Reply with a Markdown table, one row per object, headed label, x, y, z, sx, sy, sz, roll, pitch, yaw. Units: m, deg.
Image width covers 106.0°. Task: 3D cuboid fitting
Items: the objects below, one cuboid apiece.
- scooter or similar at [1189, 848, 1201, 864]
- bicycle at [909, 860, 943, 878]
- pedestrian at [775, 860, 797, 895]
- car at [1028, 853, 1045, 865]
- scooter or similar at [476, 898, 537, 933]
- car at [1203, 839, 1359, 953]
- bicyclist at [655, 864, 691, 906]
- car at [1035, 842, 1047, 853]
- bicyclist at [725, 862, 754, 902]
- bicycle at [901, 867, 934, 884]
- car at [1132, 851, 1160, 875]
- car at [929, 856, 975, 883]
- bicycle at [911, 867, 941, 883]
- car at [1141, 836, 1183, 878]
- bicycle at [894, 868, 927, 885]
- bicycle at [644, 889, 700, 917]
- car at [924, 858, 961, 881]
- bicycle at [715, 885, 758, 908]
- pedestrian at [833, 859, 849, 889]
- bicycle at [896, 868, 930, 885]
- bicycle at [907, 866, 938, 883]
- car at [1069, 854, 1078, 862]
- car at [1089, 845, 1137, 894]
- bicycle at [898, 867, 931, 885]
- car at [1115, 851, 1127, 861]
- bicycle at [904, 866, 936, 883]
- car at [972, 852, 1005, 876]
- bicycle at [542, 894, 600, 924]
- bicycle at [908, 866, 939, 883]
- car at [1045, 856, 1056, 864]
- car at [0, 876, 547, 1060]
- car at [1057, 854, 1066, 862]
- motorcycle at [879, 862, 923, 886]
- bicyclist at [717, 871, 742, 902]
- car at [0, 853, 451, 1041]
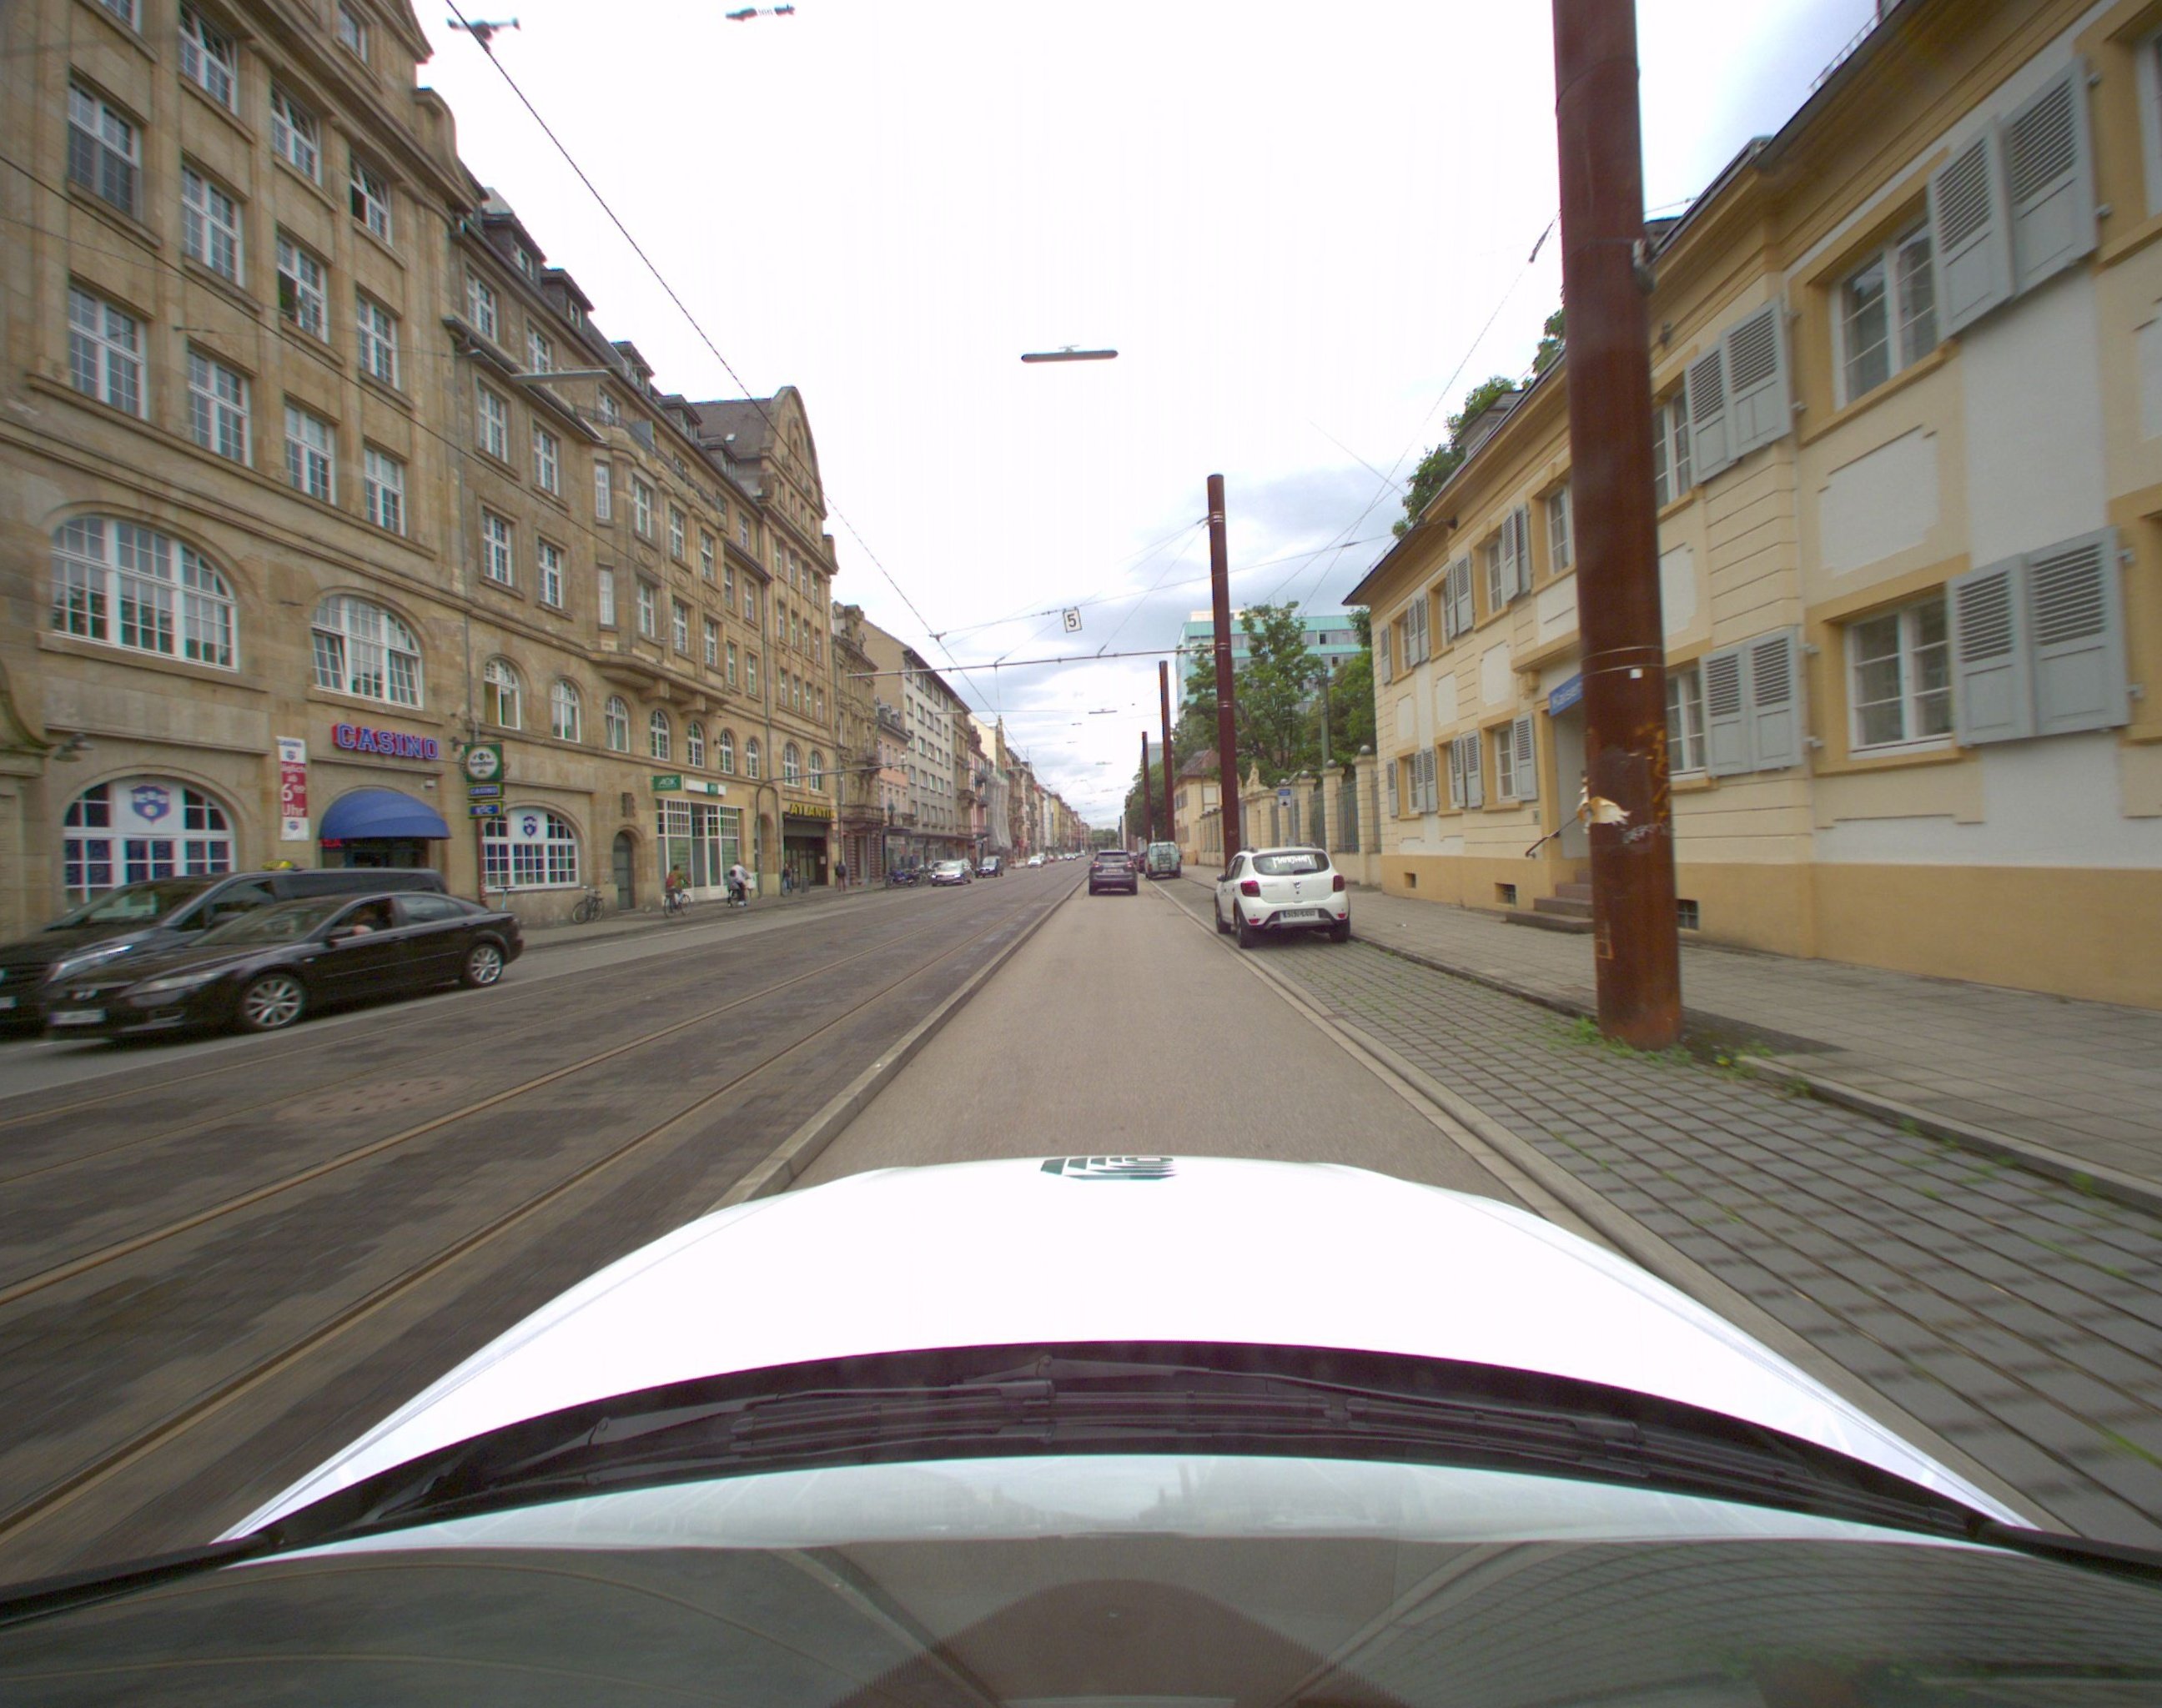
| label | x | y | z | sx | sy | sz | roll | pitch | yaw |
| --- | --- | --- | --- | --- | --- | --- | --- | --- | --- |
| scooter or similar | 9.469 | 0.190 | 67.537 | 0.744 | 1.250 | 1.920 | -2 | -1 | 2 |
| bicycle | -10.704 | 1.009 | 56.234 | 2.228 | 1.126 | 0.503 | -2 | 0 | -6 |
| pedestrian | -14.034 | 1.116 | 38.782 | 0.682 | 1.613 | 0.742 | -2 | 0 | 2 |
| car | -5.609 | 0.648 | 102.686 | 1.681 | 1.420 | 4.137 | -2 | 0 | 2 |
| scooter or similar | -15.111 | 1.605 | 21.457 | 0.579 | 0.802 | 1.346 | -2 | 0 | 2 |
| car | 3.297 | 0.625 | 14.203 | 1.749 | 1.574 | 3.932 | -5 | 0 | 1 |
| bicyclist | -13.295 | 1.006 | 26.582 | 0.609 | 1.324 | 0.972 | -2 | 0 | 2 |
| car | -6.729 | -1.039 | 137.276 | 1.988 | 1.706 | 3.998 | -2 | -1 | -1 |
| bicyclist | -13.117 | 1.064 | 31.300 | 0.609 | 1.487 | 0.972 | -2 | 0 | 2 |
| bicycle | -10.458 | 1.376 | 52.176 | 1.963 | 1.001 | 0.462 | -2 | 0 | -6 |
| car | 4.775 | 0.644 | 60.160 | 1.743 | 1.596 | 3.925 | -5 | 0 | 2 |
| car | -7.610 | 0.866 | 48.417 | 1.752 | 1.449 | 4.617 | -2 | 0 | 2 |
| bicycle | -10.557 | 1.420 | 55.598 | 1.963 | 1.001 | 0.462 | -2 | 0 | -6 |
| car | 4.478 | 0.161 | 45.804 | 1.844 | 2.115 | 4.986 | -5 | 0 | 2 |
| bicycle | -10.492 | 1.381 | 50.189 | 1.919 | 1.001 | 0.462 | -2 | 0 | -6 |
| bicycle | -13.278 | 1.575 | 26.506 | 0.579 | 0.745 | 2.252 | -2 | 0 | 2 |
| car | -10.128 | 1.083 | 59.852 | 1.769 | 1.504 | 4.403 | -2 | 0 | 2 |
| bicycle | -13.102 | 1.597 | 31.044 | 0.579 | 0.745 | 2.252 | -2 | 0 | 2 |
| pedestrian | -12.771 | 1.053 | 43.372 | 0.566 | 1.598 | 0.718 | -2 | 0 | 1 |
| bicycle | -10.493 | 1.399 | 50.949 | 1.963 | 1.001 | 0.462 | -2 | 0 | -6 |
| bicycle | -10.501 | 1.346 | 54.072 | 1.963 | 1.001 | 0.462 | -2 | 0 | -6 |
| car | -1.769 | 0.862 | 187.610 | 1.988 | 1.635 | 3.998 | -2 | -1 | -1 |
| car | 1.225 | 0.558 | 31.559 | 1.743 | 1.756 | 3.925 | 0 | 0 | 2 |
| bicycle | -10.540 | 1.389 | 51.617 | 1.963 | 1.001 | 0.462 | -2 | 0 | -6 |
| car | 6.289 | 0.318 | 127.256 | 1.769 | 1.420 | 4.137 | -2 | 0 | 2 |
| bicycle | -10.447 | 1.353 | 52.841 | 1.963 | 1.001 | 0.462 | -2 | 0 | -6 |
| car | -7.188 | 0.743 | 63.575 | 1.752 | 1.671 | 4.617 | -2 | 0 | 2 |
| bicycle | -15.119 | 1.627 | 24.174 | 0.579 | 0.745 | 1.707 | -2 | 0 | 2 |
| bicycle | -10.595 | 1.378 | 54.810 | 1.963 | 1.001 | 0.462 | -2 | 0 | -6 |
| car | -6.207 | 1.220 | 166.101 | 1.988 | 1.464 | 3.998 | -2 | -1 | -1 |
| car | -9.207 | 1.142 | 9.932 | 1.817 | 1.433 | 4.676 | -5 | 0 | 6 |
| car | -4.720 | 0.982 | 196.524 | 1.988 | 1.635 | 3.998 | -2 | -1 | -1 |
| motorcycle | -10.656 | 1.195 | 48.292 | 2.354 | 1.302 | 0.874 | -2 | 0 | -35 |
| bicyclist | -13.143 | 1.223 | 30.471 | 0.609 | 1.117 | 0.660 | -2 | 0 | 2 |
| car | -11.908 | 1.059 | 11.449 | 1.892 | 1.977 | 5.099 | -5 | 0 | 2 |
